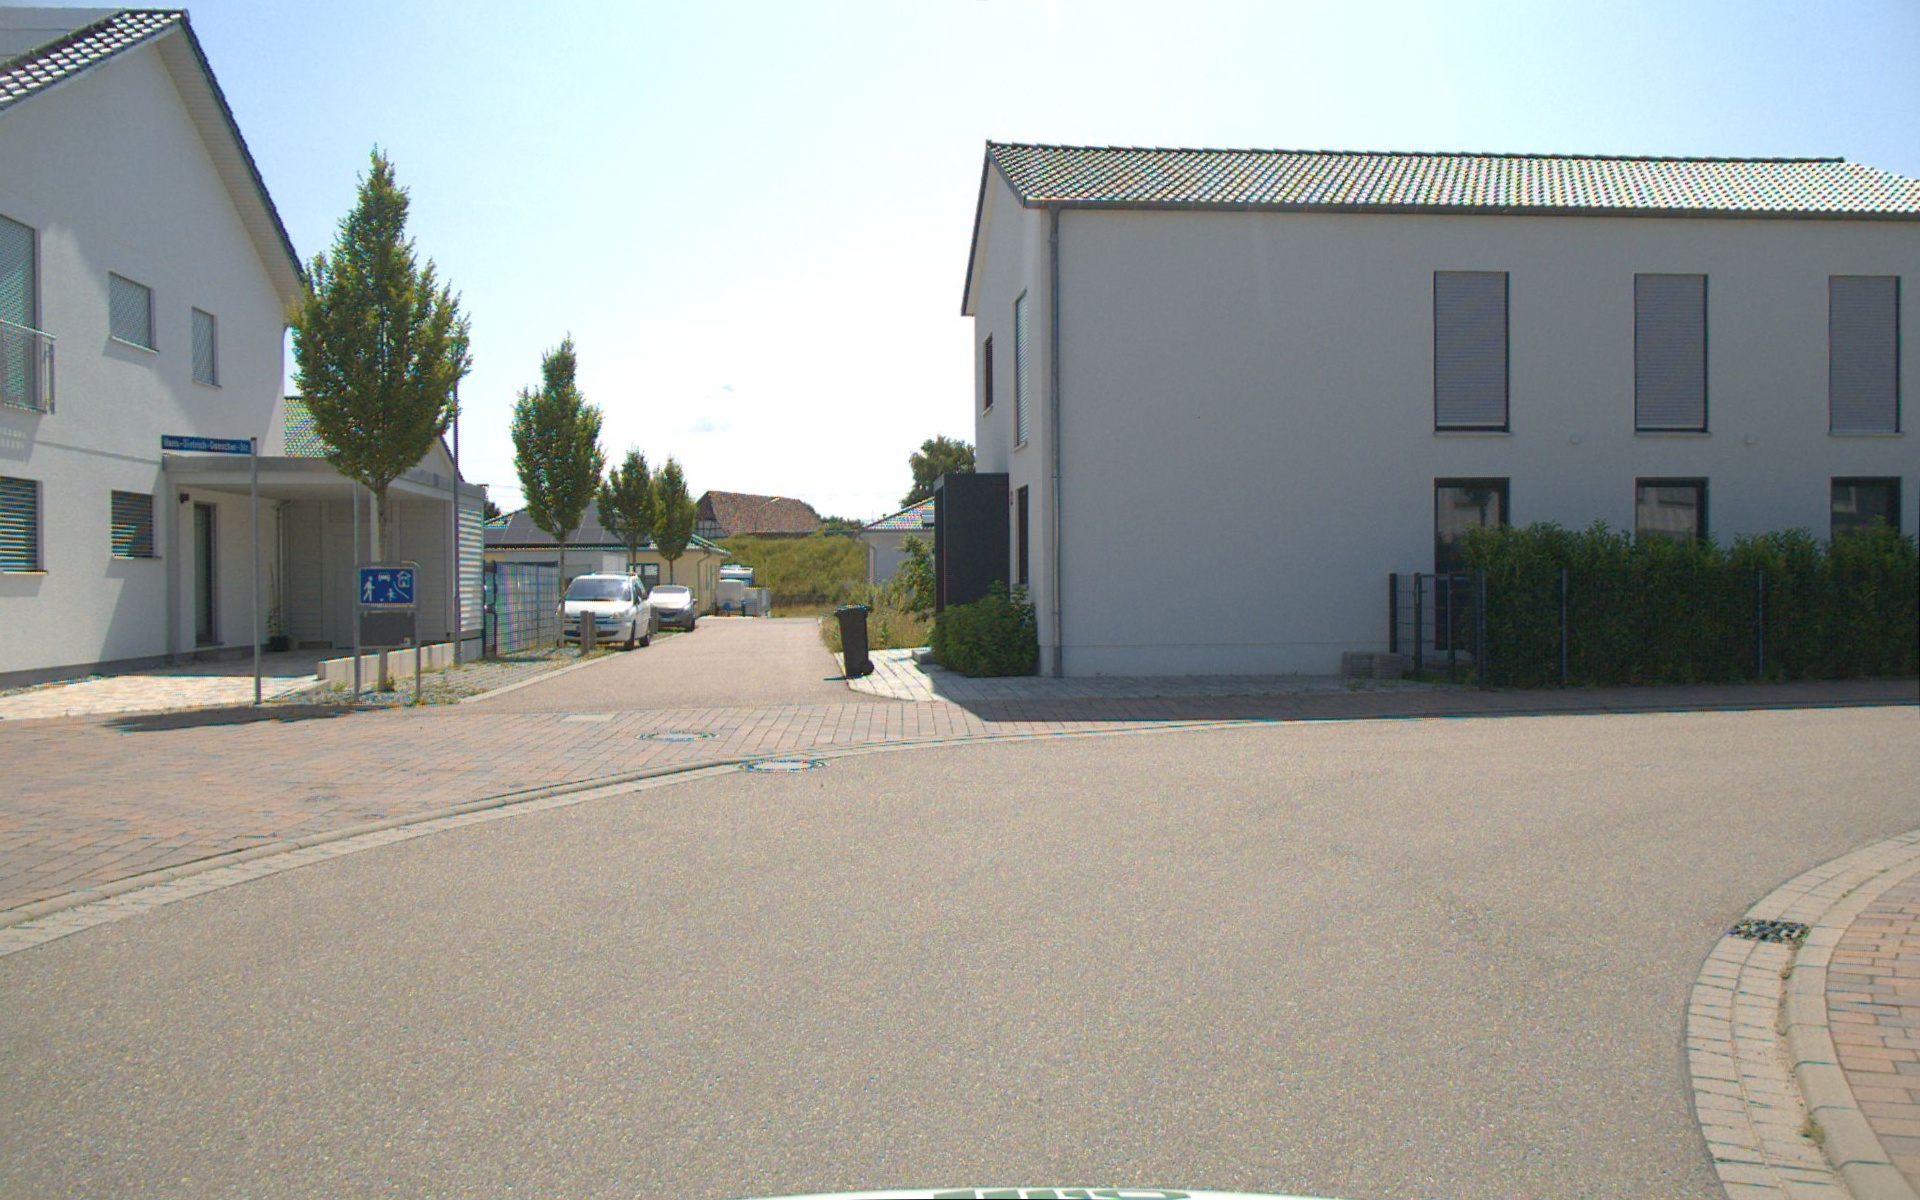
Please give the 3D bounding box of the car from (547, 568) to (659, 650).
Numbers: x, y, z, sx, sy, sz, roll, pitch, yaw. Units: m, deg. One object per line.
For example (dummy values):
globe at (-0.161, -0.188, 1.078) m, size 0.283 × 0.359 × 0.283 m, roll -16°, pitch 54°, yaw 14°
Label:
car at (-8.468, 0.214, 39.595) m, size 1.954 × 1.821 × 4.643 m, roll 1°, pitch 0°, yaw -4°

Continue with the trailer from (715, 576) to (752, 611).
trailer at (-10.990, -0.327, 80.278) m, size 1.595 × 1.642 × 2.559 m, roll 1°, pitch 0°, yaw -4°

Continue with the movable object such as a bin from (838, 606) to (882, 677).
movable object such as a bin at (-1.415, 0.575, 23.363) m, size 0.588 × 0.965 × 0.500 m, roll -2°, pitch 0°, yaw -5°

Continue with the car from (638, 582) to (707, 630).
car at (-10.193, 0.209, 58.986) m, size 1.954 × 1.642 × 4.480 m, roll 1°, pitch 0°, yaw -4°

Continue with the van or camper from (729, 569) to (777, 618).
van or camper at (-10.952, -0.336, 87.675) m, size 2.219 × 2.453 × 4.840 m, roll 1°, pitch 0°, yaw -4°
